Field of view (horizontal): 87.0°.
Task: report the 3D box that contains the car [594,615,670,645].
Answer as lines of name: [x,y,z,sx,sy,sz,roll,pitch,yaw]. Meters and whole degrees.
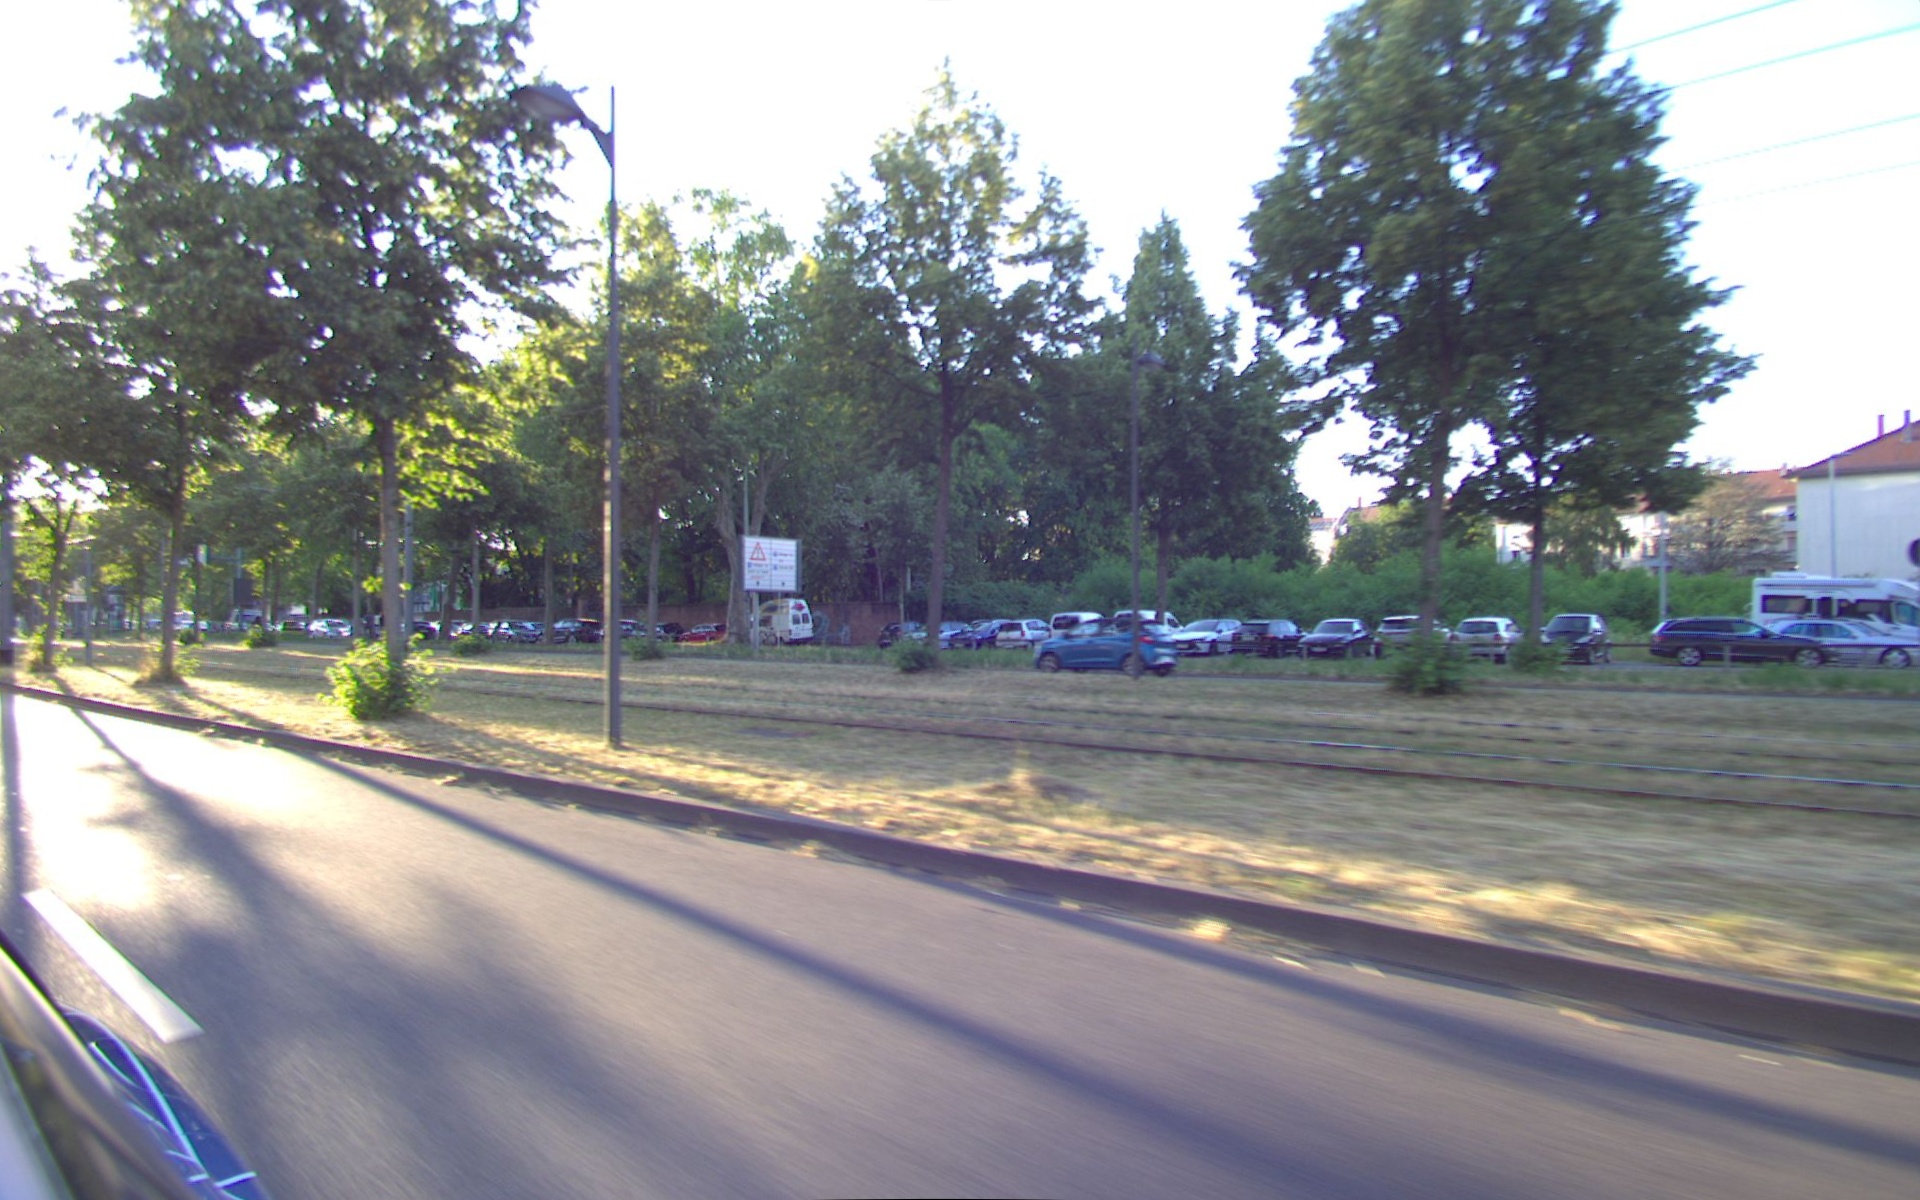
car: [-17.394,1.569,53.553,3.995,1.497,1.974,-1,-1,38]

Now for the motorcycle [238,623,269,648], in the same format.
motorcycle: [-38.783,1.942,55.549,2.341,1.347,0.675,-1,-2,37]

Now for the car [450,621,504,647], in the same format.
car: [-30.247,2.107,63.359,3.838,1.572,1.783,-2,-2,43]

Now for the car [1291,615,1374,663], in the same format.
car: [13.644,1.381,36.953,1.917,1.652,3.953,-2,-1,34]

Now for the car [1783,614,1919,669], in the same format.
car: [28.550,1.280,31.852,3.998,1.652,1.896,-2,-2,42]

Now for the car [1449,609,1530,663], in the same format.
car: [17.640,1.157,33.640,1.917,1.652,3.953,-2,-1,34]

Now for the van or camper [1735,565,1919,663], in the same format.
van or camper: [30.167,0.473,34.051,6.260,3.109,2.682,-2,-1,42]

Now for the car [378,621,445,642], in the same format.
car: [-35.416,2.036,65.297,5.136,1.325,1.974,-1,-2,39]

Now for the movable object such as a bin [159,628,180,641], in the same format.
movable object such as a bin: [-87.404,3.858,111.860,1.722,1.383,1.537,-2,-2,39]

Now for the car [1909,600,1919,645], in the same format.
car: [40.866,0.861,40.547,3.998,1.825,1.896,-2,-2,41]

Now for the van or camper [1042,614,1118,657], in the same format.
van or camper: [5.283,1.526,44.139,1.990,1.805,3.962,-1,-2,27]

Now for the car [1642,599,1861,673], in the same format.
car: [23.209,1.041,29.923,4.924,2.029,1.975,-1,-2,37]

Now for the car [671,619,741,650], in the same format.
car: [-14.997,1.997,59.628,3.993,1.763,1.975,-1,-2,37]

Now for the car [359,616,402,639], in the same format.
car: [-54.519,2.606,95.130,5.056,2.029,1.973,-2,-2,41]

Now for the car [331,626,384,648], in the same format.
car: [-43.217,2.650,72.534,4.301,1.511,1.881,-1,-2,39]

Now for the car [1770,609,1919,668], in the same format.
car: [26.752,1.122,30.147,3.998,1.652,1.896,-2,-2,42]

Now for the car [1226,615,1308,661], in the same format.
car: [11.773,1.402,38.696,1.917,1.652,3.953,-2,-1,34]

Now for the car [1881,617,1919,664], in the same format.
car: [35.743,1.434,36.250,3.998,1.652,1.896,-2,-2,42]

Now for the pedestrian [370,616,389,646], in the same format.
pedestrian: [-36.396,1.951,63.486,0.863,1.884,0.688,-1,-2,30]

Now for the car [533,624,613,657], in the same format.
car: [-21.556,2.221,56.264,4.783,1.763,1.975,-1,-2,37]

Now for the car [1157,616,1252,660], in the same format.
car: [9.835,1.483,40.525,1.923,1.652,3.942,-2,-2,44]

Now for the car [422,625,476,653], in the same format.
car: [-34.142,2.591,67.577,4.160,1.763,1.972,-2,-2,43]

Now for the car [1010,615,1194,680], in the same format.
car: [3.579,1.170,25.845,4.281,1.519,1.900,-1,-1,38]

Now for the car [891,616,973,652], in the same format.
car: [-1.337,1.642,49.361,1.920,1.652,3.947,-2,-2,39]

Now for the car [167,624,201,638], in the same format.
car: [-83.541,3.347,108.981,4.295,1.512,1.974,-2,-2,40]

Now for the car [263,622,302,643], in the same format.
car: [-55.996,2.675,83.662,1.971,1.652,4.002,1,-2,-45]

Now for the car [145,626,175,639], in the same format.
car: [-92.823,3.761,117.383,3.996,1.459,1.974,-2,-2,39]

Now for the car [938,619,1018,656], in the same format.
car: [0.885,1.731,47.387,1.917,1.652,3.953,-2,-1,34]

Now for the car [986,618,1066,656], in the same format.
car: [3.048,1.671,46.388,1.917,1.652,3.953,-2,-1,34]

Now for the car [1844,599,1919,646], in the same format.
car: [37.745,0.869,40.125,3.998,1.825,1.896,-2,-2,41]

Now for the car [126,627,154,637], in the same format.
car: [-102.419,4.000,126.329,4.085,1.210,1.974,-2,-2,39]

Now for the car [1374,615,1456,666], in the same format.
car: [15.903,1.368,35.263,1.917,1.652,3.953,-2,-1,34]

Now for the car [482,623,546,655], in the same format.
car: [-26.269,2.267,59.548,4.160,1.763,1.972,-2,-2,43]

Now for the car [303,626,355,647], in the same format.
car: [-47.511,2.755,76.185,4.551,1.510,1.974,-1,-2,39]

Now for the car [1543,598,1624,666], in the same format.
car: [20.077,1.008,32.520,1.995,2.029,3.953,-1,-2,34]

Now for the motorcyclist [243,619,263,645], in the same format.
motorcyclist: [-38.903,1.760,55.657,0.803,1.386,0.675,-2,-2,37]

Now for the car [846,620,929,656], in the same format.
car: [-3.558,1.866,50.341,1.920,1.652,3.947,-2,-2,40]

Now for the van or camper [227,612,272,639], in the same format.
van or camper: [-65.667,2.385,93.484,5.782,2.383,2.259,-2,-2,43]

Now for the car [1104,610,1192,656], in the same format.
car: [7.940,1.354,42.557,2.010,1.858,3.949,-2,-2,38]

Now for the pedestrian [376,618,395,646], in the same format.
pedestrian: [-36.583,2.018,64.449,0.863,1.772,0.688,-1,-2,30]

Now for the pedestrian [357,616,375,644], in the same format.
pedestrian: [-37.396,1.905,63.672,0.864,1.756,0.687,-1,-2,36]

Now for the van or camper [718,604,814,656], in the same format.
van or camper: [-10.849,1.652,56.368,5.485,2.756,2.066,-1,-2,37]
